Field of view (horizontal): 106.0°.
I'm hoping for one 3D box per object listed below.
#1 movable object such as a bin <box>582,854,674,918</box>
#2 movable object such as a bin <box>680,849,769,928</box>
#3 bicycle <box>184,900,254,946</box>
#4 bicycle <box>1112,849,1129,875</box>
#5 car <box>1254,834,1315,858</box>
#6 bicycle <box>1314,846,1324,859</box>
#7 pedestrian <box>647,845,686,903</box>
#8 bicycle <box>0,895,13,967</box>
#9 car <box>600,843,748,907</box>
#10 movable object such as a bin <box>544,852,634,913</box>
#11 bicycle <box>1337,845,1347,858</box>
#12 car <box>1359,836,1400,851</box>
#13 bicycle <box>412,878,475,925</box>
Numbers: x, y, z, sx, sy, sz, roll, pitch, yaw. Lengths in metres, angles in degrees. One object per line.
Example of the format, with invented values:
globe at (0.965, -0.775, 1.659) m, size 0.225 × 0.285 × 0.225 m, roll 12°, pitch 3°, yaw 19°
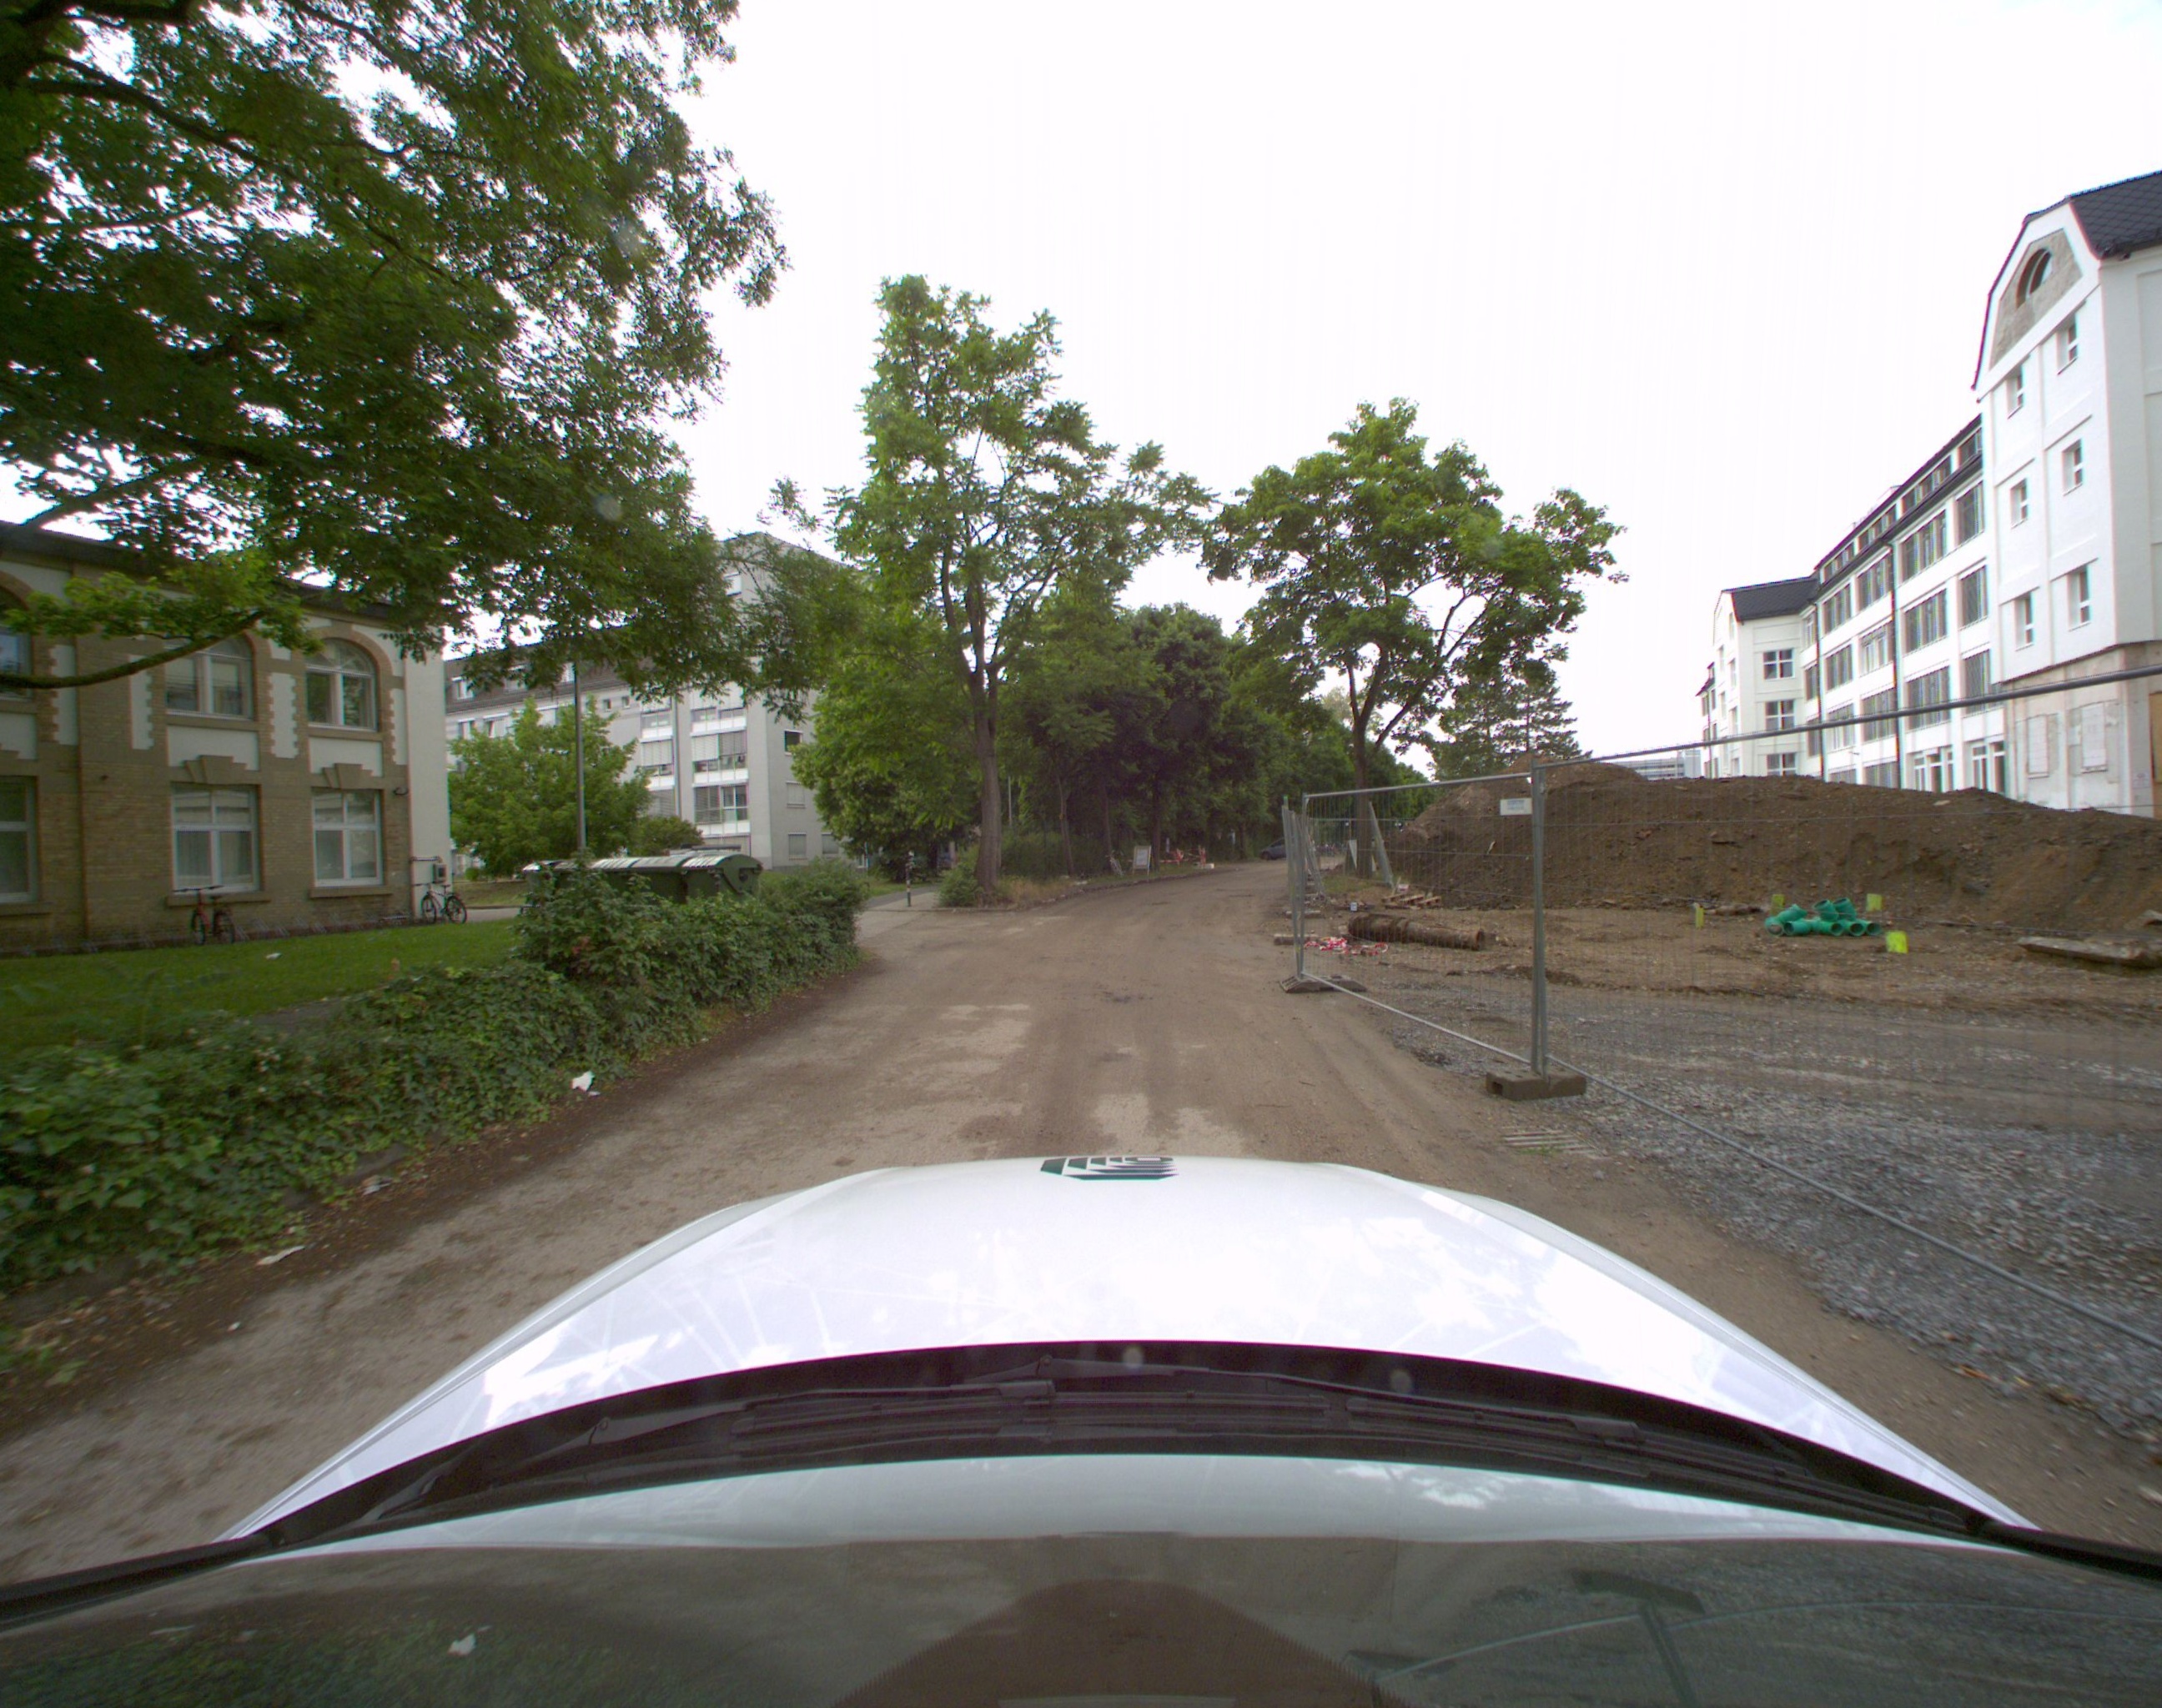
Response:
movable object such as a bin at (-9.624, 0.669, 17.330) m, size 1.337 × 1.264 × 1.062 m, roll -2°, pitch 1°, yaw 23°
movable object such as a bin at (-6.995, 0.636, 15.981) m, size 1.337 × 1.450 × 1.063 m, roll 0°, pitch 1°, yaw 37°
bicycle at (-16.946, 1.332, 16.001) m, size 1.919 × 0.813 × 0.623 m, roll -2°, pitch 1°, yaw 34°
bicycle at (1.449, 0.282, 29.875) m, size 0.416 × 0.905 × 1.158 m, roll -2°, pitch 1°, yaw 12°
car at (14.145, -0.541, 56.682) m, size 3.663 × 1.500 × 1.880 m, roll -1°, pitch 1°, yaw 31°
bicycle at (19.024, -0.150, 65.029) m, size 0.765 × 0.978 × 2.041 m, roll -2°, pitch 1°, yaw 17°
pedestrian at (-13.419, 0.655, 26.404) m, size 0.690 × 1.808 × 0.761 m, roll -4°, pitch 0°, yaw 24°
bicycle at (-18.191, 1.262, 13.396) m, size 2.192 × 1.119 × 0.623 m, roll -2°, pitch 1°, yaw 34°
car at (-14.081, 0.671, 28.496) m, size 1.831 × 2.013 × 4.376 m, roll -3°, pitch 0°, yaw 24°
movable object such as a bin at (-10.905, 0.628, 18.066) m, size 1.338 × 1.264 × 1.061 m, roll -2°, pitch 1°, yaw 20°
bicycle at (20.686, -0.231, 64.566) m, size 0.765 × 0.978 × 2.041 m, roll -2°, pitch 1°, yaw 17°
car at (34.285, -1.224, 93.685) m, size 3.977 × 1.508 × 1.998 m, roll -2°, pitch 1°, yaw -3°
bicycle at (-15.173, 1.136, 19.361) m, size 1.805 × 1.065 × 0.398 m, roll -2°, pitch 0°, yaw 26°
